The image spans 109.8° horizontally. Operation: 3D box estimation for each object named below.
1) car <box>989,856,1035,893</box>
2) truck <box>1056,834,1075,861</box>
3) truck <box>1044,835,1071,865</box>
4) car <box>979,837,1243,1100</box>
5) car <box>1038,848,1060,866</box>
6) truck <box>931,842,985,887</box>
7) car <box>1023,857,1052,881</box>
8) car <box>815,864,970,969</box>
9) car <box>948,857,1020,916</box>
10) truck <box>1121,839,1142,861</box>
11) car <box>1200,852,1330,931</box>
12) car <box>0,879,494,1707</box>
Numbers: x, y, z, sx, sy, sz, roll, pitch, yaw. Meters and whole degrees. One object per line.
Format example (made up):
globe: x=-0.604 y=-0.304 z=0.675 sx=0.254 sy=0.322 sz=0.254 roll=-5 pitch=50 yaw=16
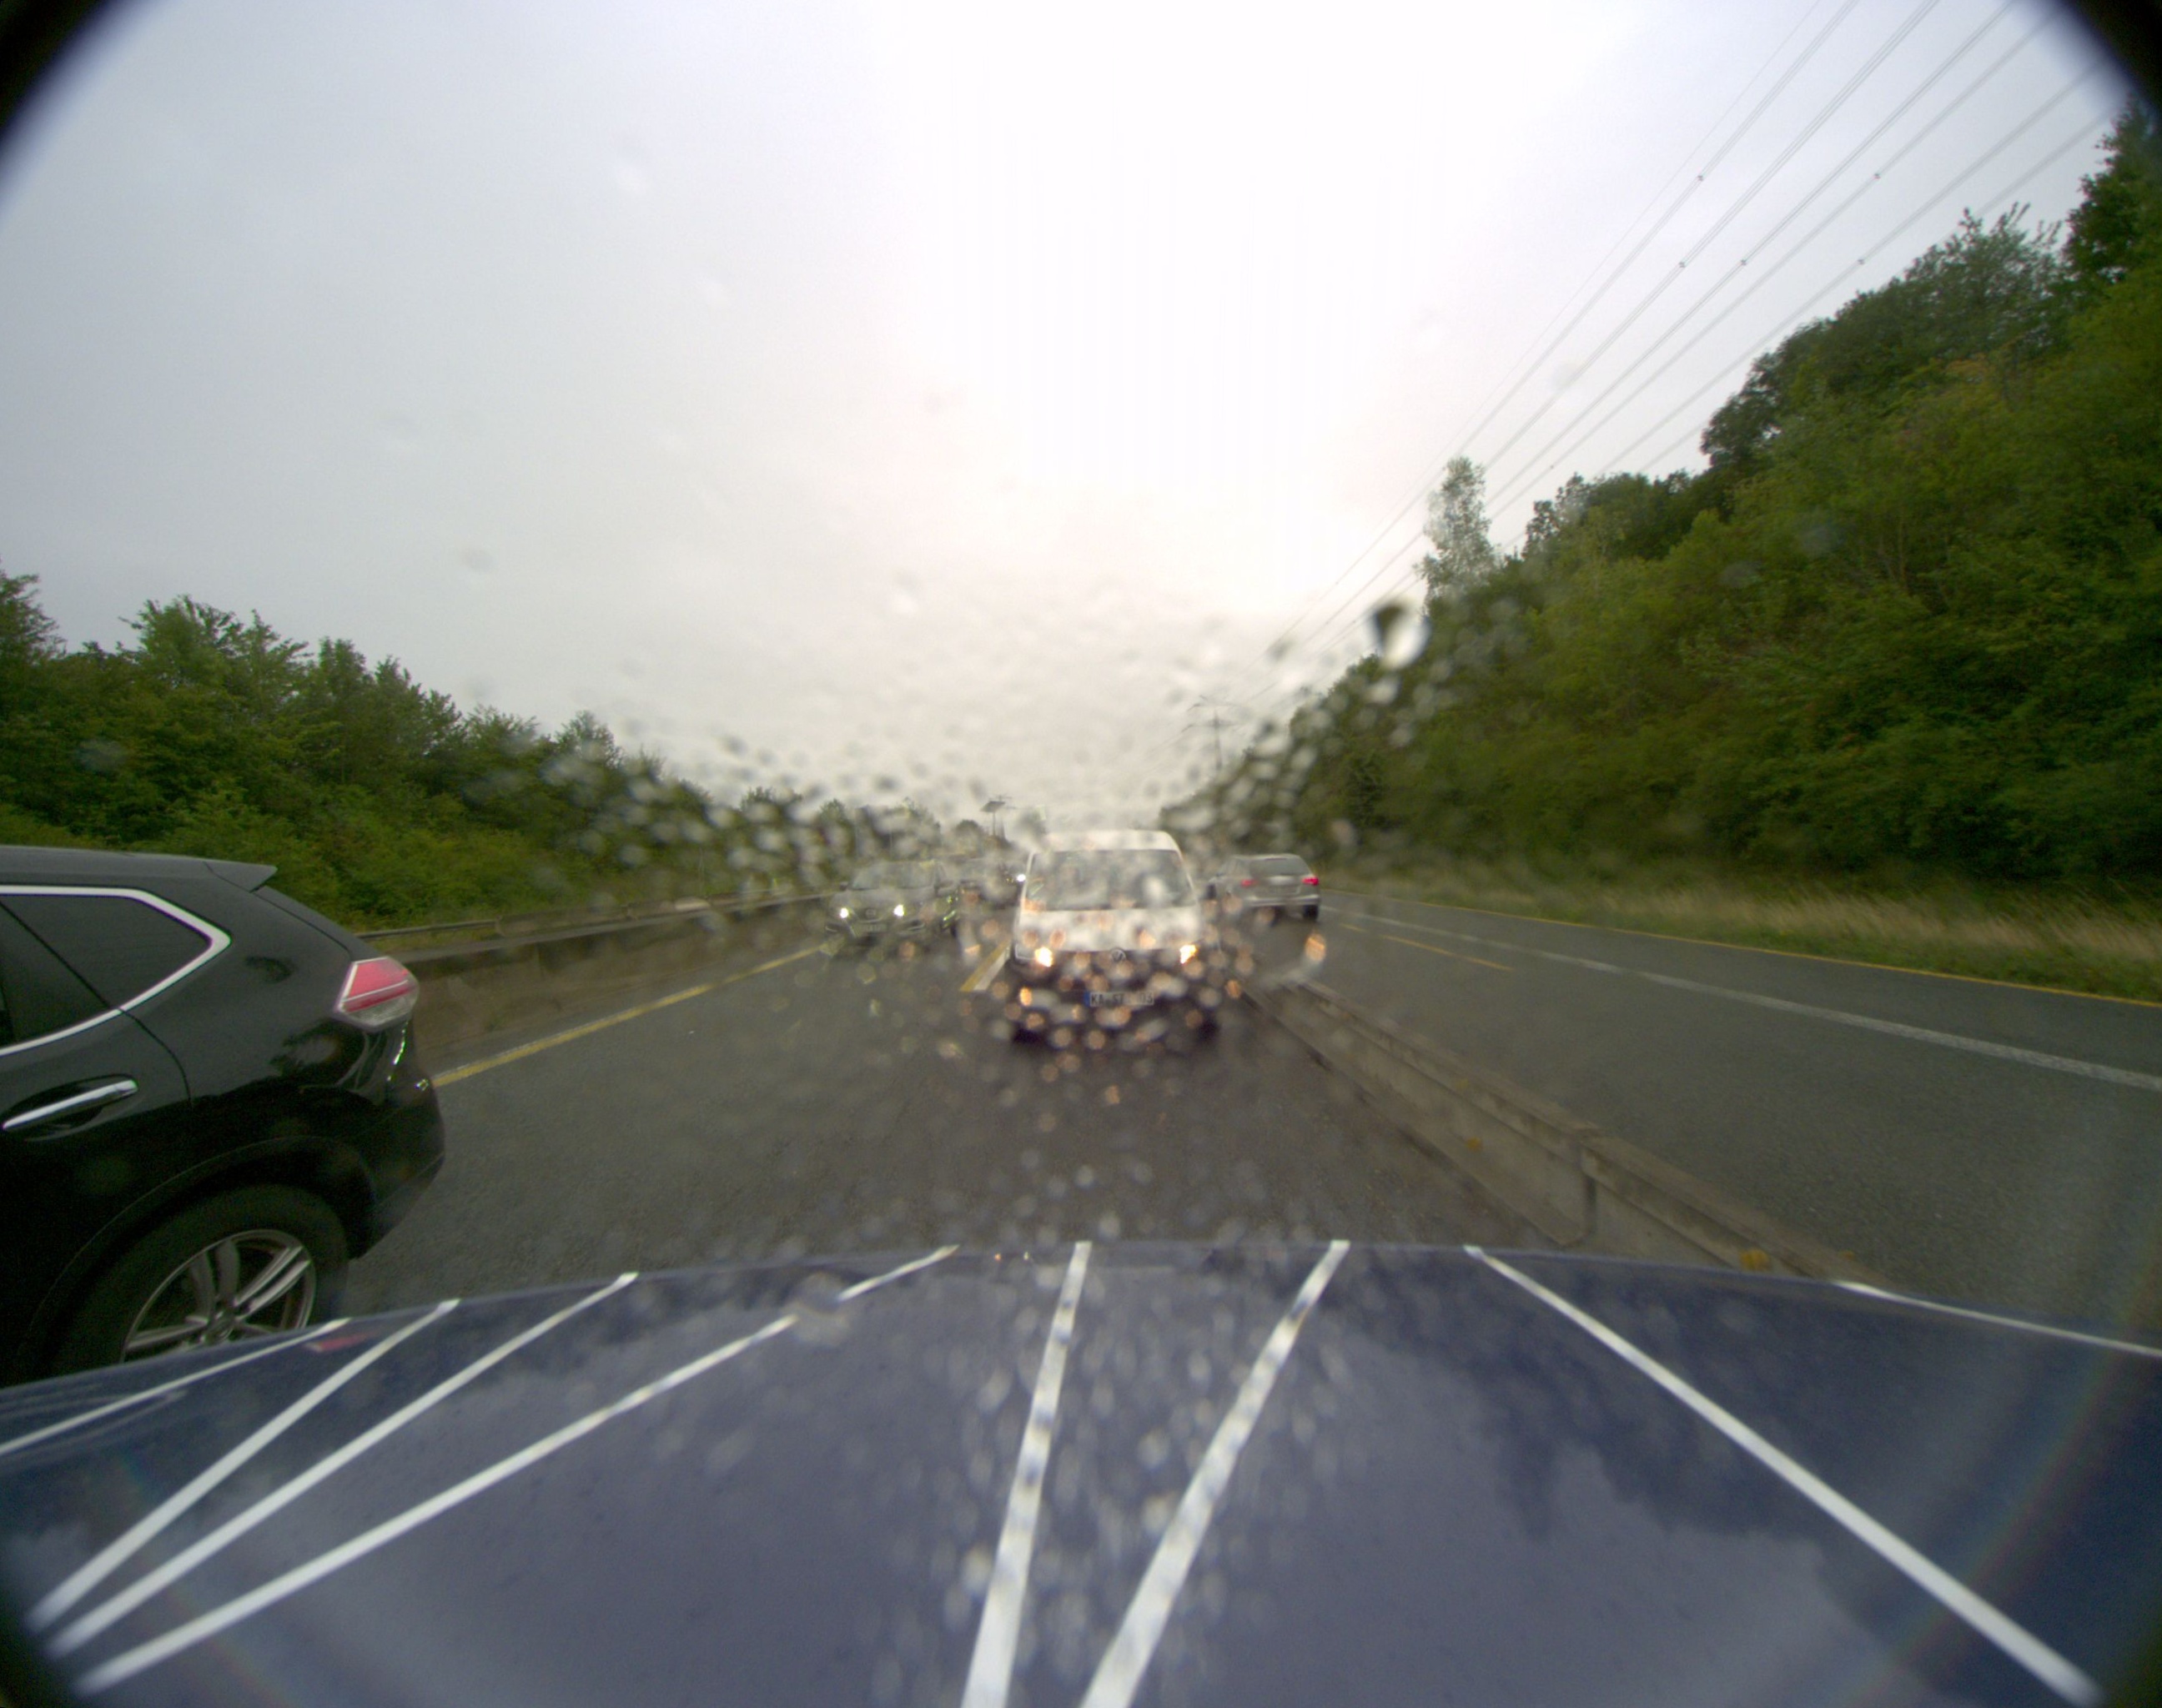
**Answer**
car: x=-3.121 y=0.885 z=35.121 sx=1.784 sy=1.482 sz=4.123 roll=-2 pitch=1 yaw=-1
truck: x=-2.342 y=-0.950 z=116.322 sx=2.619 sy=3.869 sz=9.573 roll=-2 pitch=1 yaw=-1
truck: x=-2.803 y=-0.500 z=92.769 sx=2.619 sy=3.404 sz=9.575 roll=-2 pitch=1 yaw=1
car: x=0.188 y=0.775 z=7.636 sx=1.784 sy=1.775 sz=4.697 roll=-2 pitch=1 yaw=-1
car: x=-2.763 y=0.232 z=67.189 sx=1.784 sy=1.482 sz=4.123 roll=-2 pitch=1 yaw=-1
truck: x=-10.271 y=0.780 z=64.377 sx=2.619 sy=3.404 sz=9.575 roll=-2 pitch=1 yaw=2
car: x=-2.970 y=0.981 z=52.741 sx=1.784 sy=1.482 sz=4.123 roll=-2 pitch=1 yaw=-1
car: x=-3.232 y=0.999 z=13.880 sx=1.784 sy=1.482 sz=4.123 roll=-2 pitch=1 yaw=-1
car: x=-3.018 y=0.966 z=24.429 sx=1.784 sy=1.589 sz=4.123 roll=-2 pitch=1 yaw=-1
truck: x=8.193 y=-0.750 z=124.359 sx=2.541 sy=3.333 sz=12.048 roll=-2 pitch=1 yaw=1
car: x=3.956 y=0.732 z=17.062 sx=1.784 sy=1.435 sz=4.327 roll=-2 pitch=1 yaw=-1
car: x=-3.194 y=0.984 z=0.553 sx=1.894 sy=1.665 sz=4.640 roll=-2 pitch=1 yaw=-1
